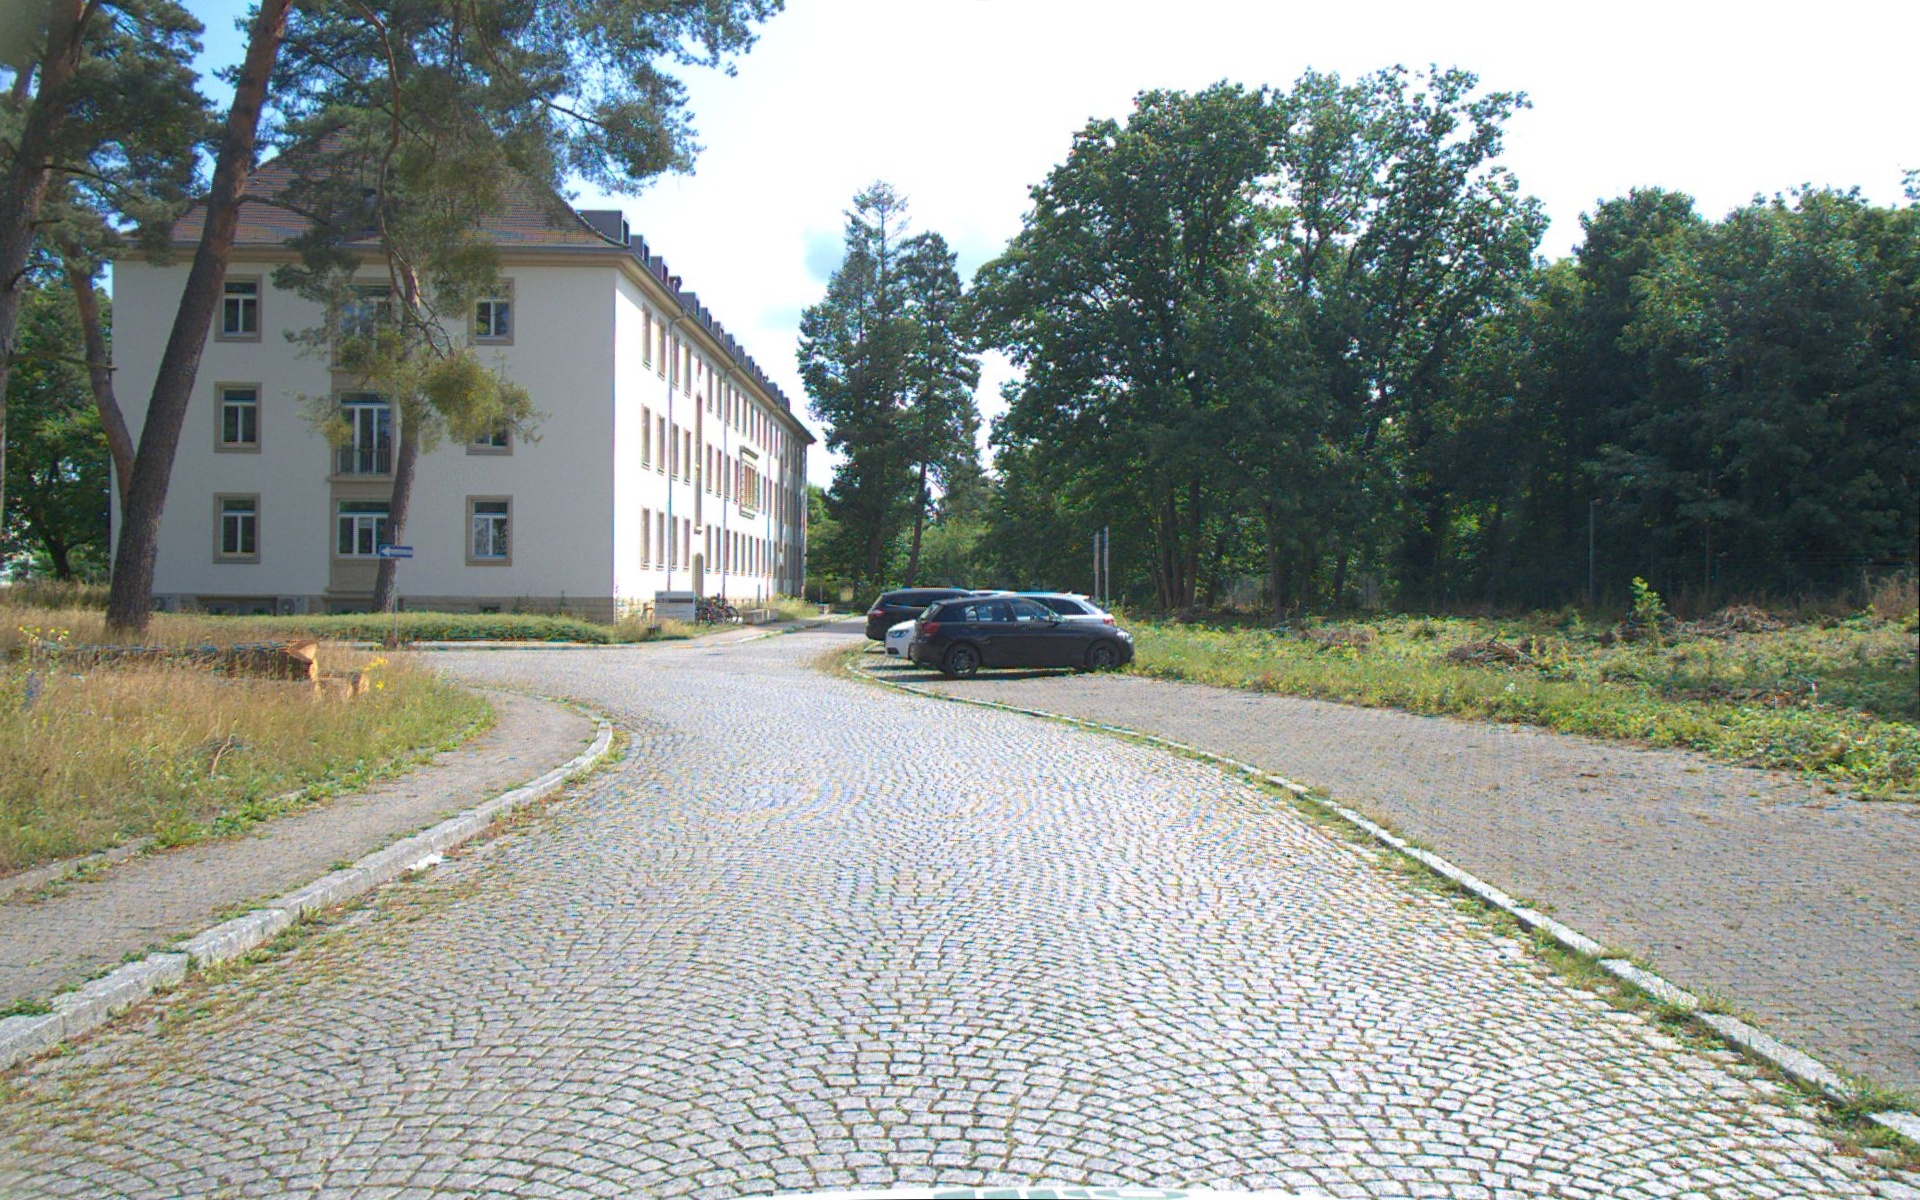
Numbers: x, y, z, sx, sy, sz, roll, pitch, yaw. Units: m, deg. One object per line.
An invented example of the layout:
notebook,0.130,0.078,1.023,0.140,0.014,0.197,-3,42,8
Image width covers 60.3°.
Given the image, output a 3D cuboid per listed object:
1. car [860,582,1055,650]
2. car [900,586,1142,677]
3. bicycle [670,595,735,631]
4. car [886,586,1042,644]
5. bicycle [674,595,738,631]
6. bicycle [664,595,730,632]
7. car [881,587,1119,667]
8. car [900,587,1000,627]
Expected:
car,-0.080,0.395,41.422,4.755,1.580,1.879,-1,0,-2
car,1.097,0.557,30.883,4.244,1.526,1.826,-1,1,-9
bicycle,-9.078,0.449,58.362,2.176,1.282,0.623,0,0,2
car,0.081,0.417,46.859,4.310,1.510,1.765,-1,0,-2
bicycle,-9.103,0.446,59.371,2.176,1.282,0.623,0,0,2
bicycle,-9.116,0.459,57.423,2.175,1.282,0.623,0,0,6
car,0.778,0.532,34.081,4.764,1.498,1.874,-1,1,-2
car,-0.383,0.288,69.547,4.100,1.570,1.820,-1,0,1
